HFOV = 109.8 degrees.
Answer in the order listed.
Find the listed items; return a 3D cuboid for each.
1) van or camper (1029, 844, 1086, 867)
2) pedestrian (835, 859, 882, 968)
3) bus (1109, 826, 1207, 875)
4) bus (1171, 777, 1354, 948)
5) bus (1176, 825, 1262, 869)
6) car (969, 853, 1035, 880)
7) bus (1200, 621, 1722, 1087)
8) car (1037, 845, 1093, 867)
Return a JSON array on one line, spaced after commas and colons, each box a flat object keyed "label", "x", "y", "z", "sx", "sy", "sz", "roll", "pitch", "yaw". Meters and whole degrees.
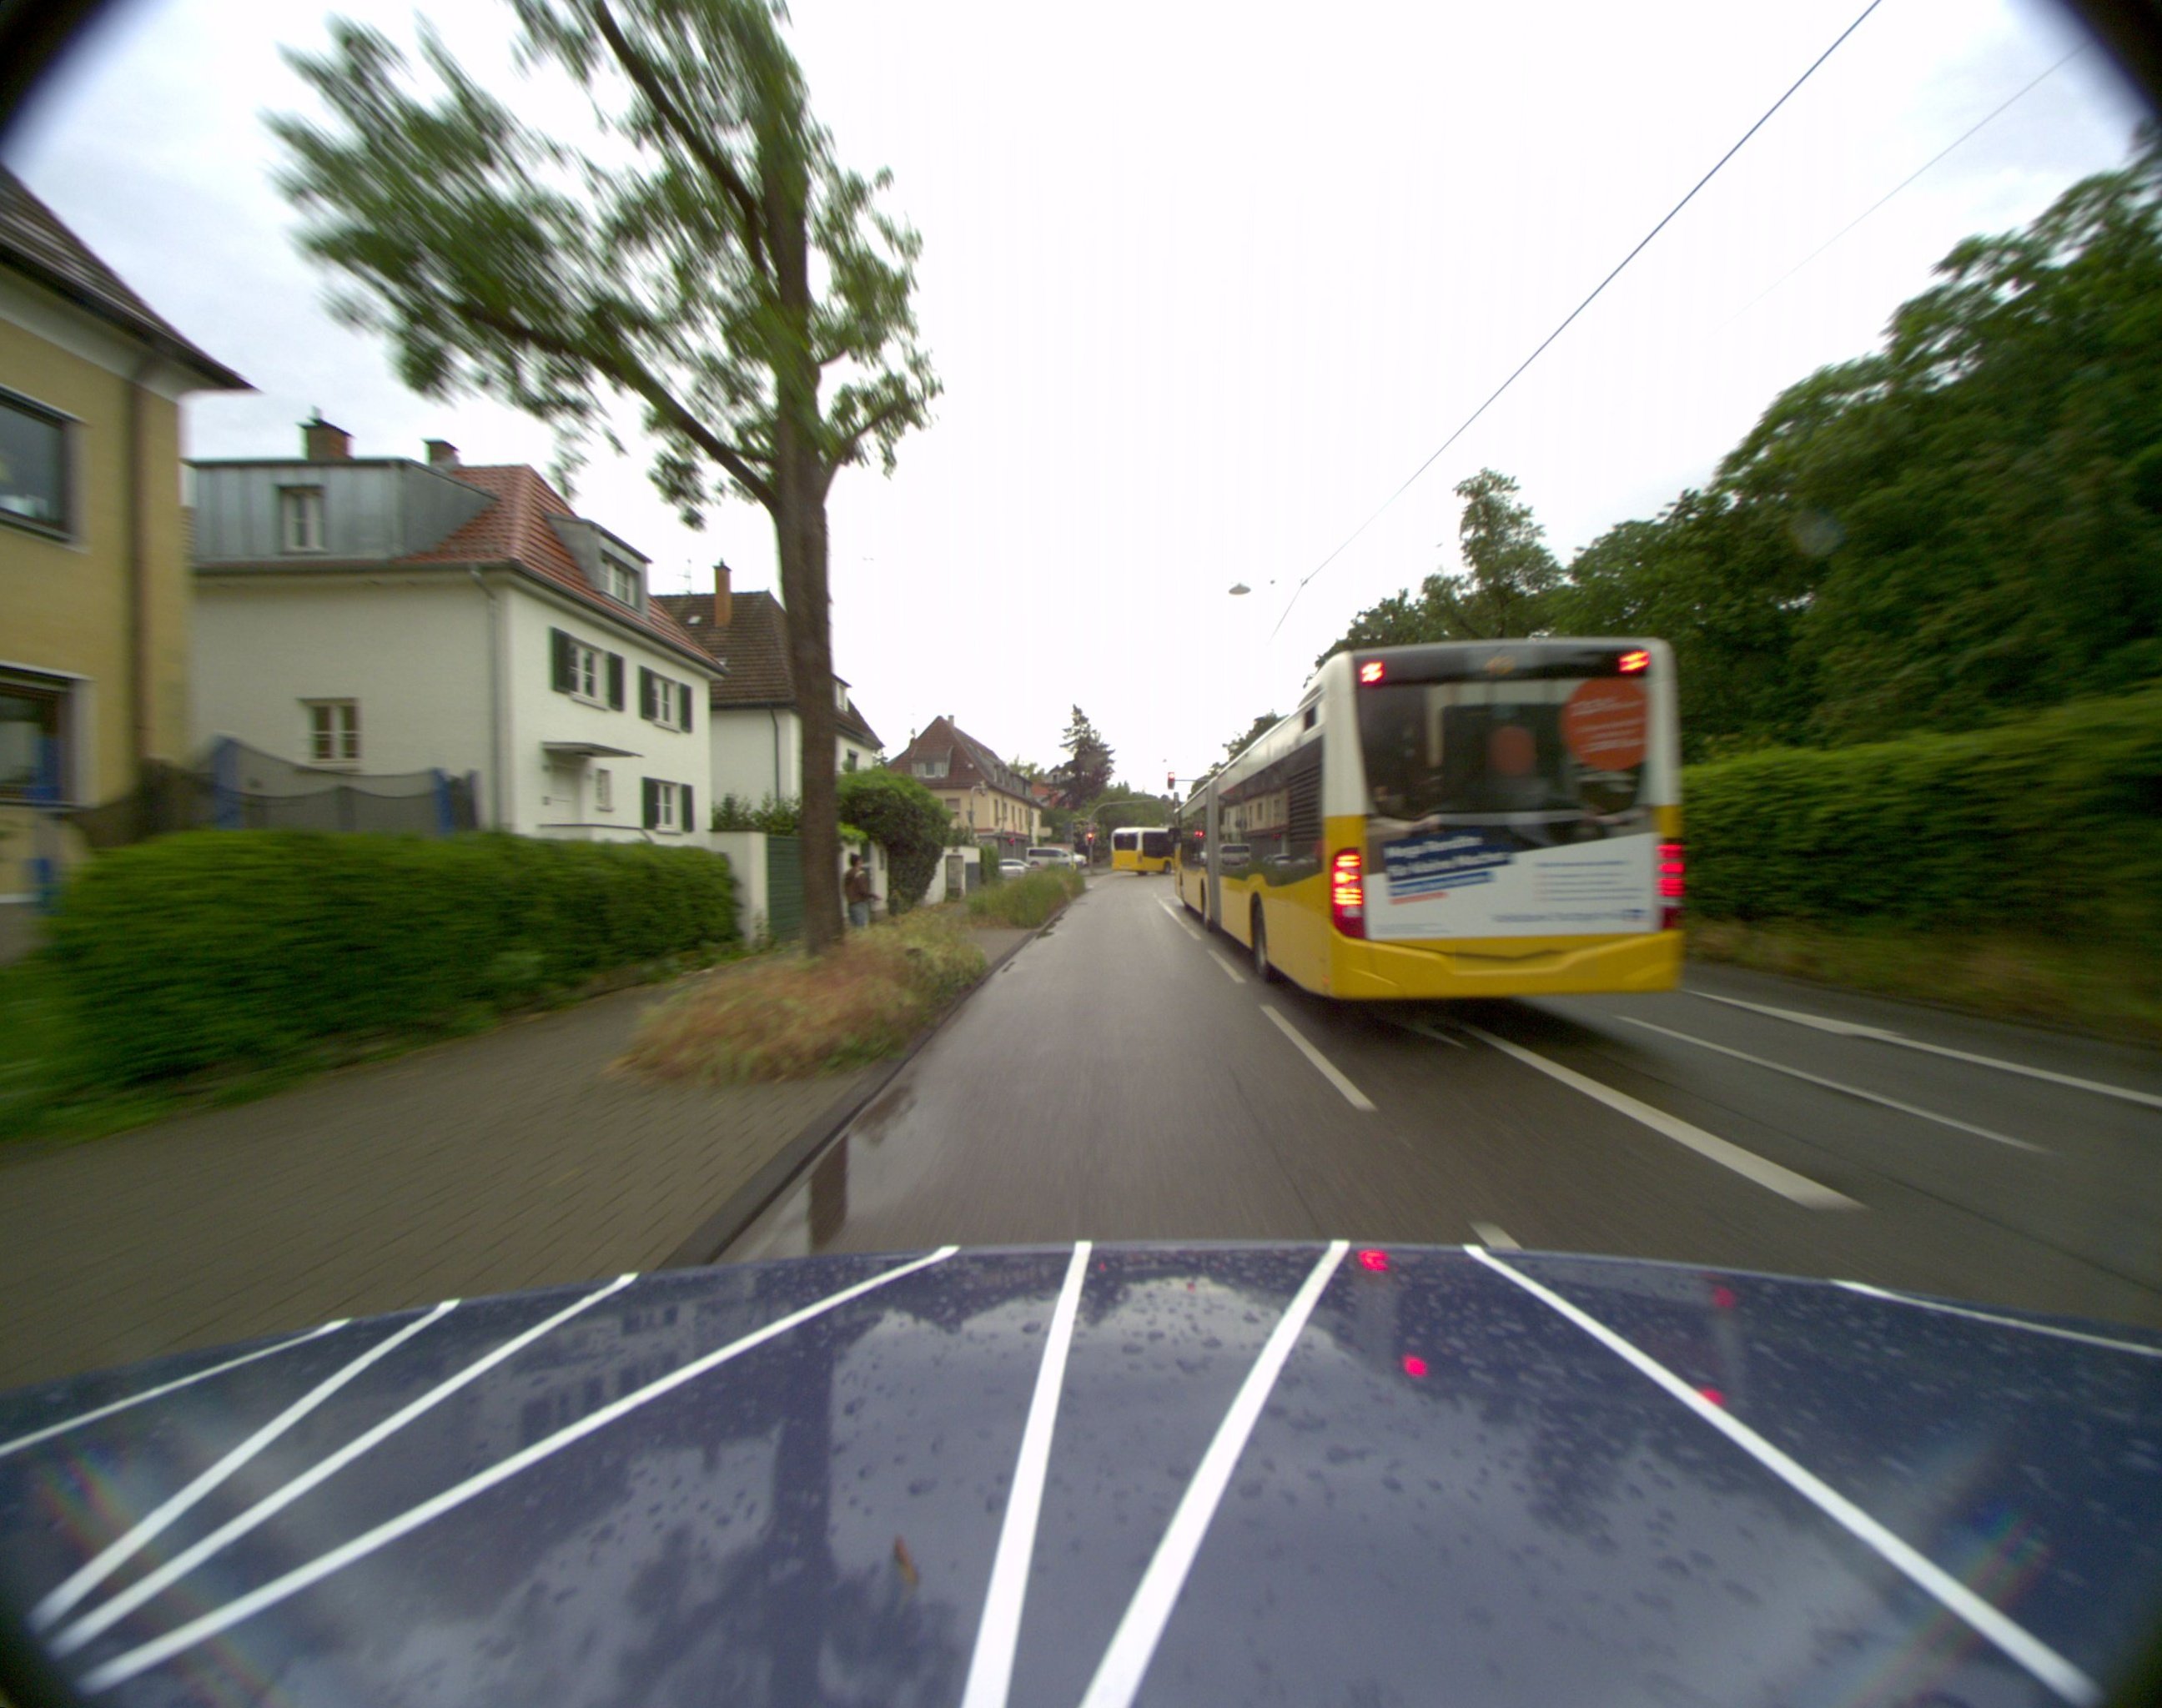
[{"label": "van or camper", "x": -2.258, "y": 0.108, "z": 73.048, "sx": 5.175, "sy": 2.002, "sz": 2.001, "roll": -2, "pitch": 2, "yaw": 8}, {"label": "pedestrian", "x": -3.217, "y": 0.849, "z": 11.030, "sx": 0.483, "sy": 1.525, "sz": 0.439, "roll": -2, "pitch": 1, "yaw": 0}, {"label": "bus", "x": 5.908, "y": -0.316, "z": 56.626, "sx": 2.678, "sy": 3.378, "sz": 8.697, "roll": -2, "pitch": 0, "yaw": 41}, {"label": "bus", "x": 3.869, "y": 0.131, "z": 18.551, "sx": 2.649, "sy": 3.027, "sz": 9.231, "roll": -2, "pitch": 0, "yaw": 3}, {"label": "bus", "x": 11.652, "y": -0.639, "z": 63.443, "sx": 2.901, "sy": 3.378, "sz": 9.058, "roll": -2, "pitch": 0, "yaw": 39}, {"label": "car", "x": -4.959, "y": 0.775, "z": 47.974, "sx": 3.998, "sy": 1.521, "sz": 1.999, "roll": -1, "pitch": 1, "yaw": -3}, {"label": "bus", "x": 3.303, "y": -0.003, "z": 9.596, "sx": 2.601, "sy": 3.139, "sz": 8.637, "roll": -2, "pitch": 0, "yaw": 3}, {"label": "car", "x": -1.570, "y": 0.161, "z": 75.904, "sx": 5.175, "sy": 2.002, "sz": 2.001, "roll": -2, "pitch": 2, "yaw": 8}]
